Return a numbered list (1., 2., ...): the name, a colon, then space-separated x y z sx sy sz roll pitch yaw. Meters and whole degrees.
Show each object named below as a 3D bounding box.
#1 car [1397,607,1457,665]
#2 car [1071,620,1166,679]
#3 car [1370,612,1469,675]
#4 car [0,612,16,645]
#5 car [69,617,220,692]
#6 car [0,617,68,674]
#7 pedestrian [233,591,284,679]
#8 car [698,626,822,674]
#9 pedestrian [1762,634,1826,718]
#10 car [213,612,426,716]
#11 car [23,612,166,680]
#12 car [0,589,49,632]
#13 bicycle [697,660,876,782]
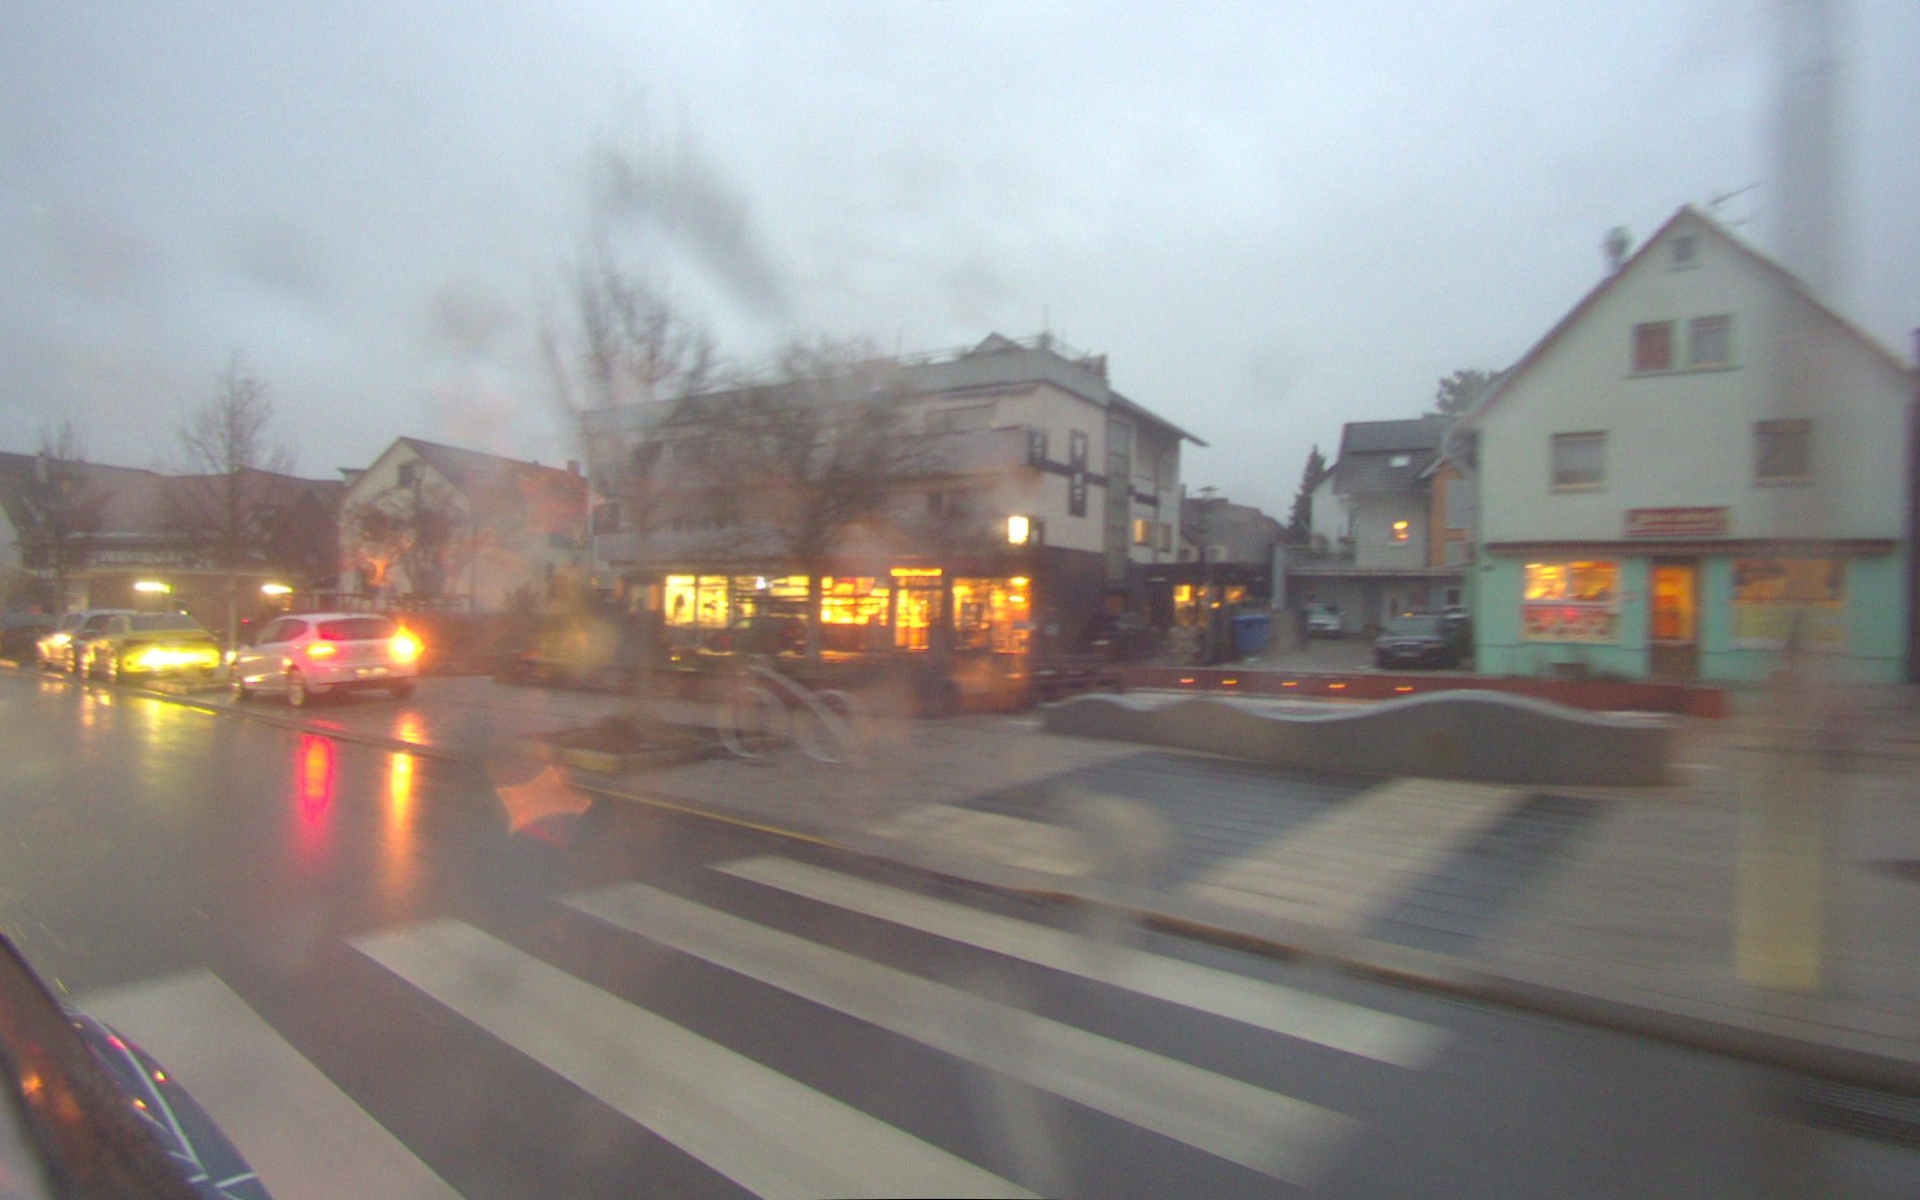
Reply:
1. car: 15.974 1.189 34.542 1.563 1.871 3.278 -1 -1 30
2. car: 5.426 1.653 34.227 1.991 1.858 3.961 0 -2 29
3. car: 12.951 1.171 28.399 1.979 1.615 3.955 -1 -1 33
4. car: -46.378 1.347 46.937 3.787 1.557 2.001 0 0 -44
5. car: -17.833 1.119 22.052 4.372 1.442 1.678 -1 0 39
6. car: -28.073 1.296 29.956 4.134 1.546 1.818 -1 0 38
7. pedestrian: -16.574 0.811 23.915 0.889 2.029 0.791 1 -2 -42
8. car: -7.057 1.739 35.689 3.985 1.576 1.979 0 -2 31
9. pedestrian: 17.817 1.604 21.642 0.836 1.729 0.911 0 -3 27
10. car: -10.793 0.967 16.945 4.177 1.500 1.767 0 0 39
11. car: -21.899 1.101 25.590 3.662 1.546 1.859 0 0 34
12. car: -40.850 0.435 42.375 3.937 1.776 1.436 0 0 -40
13. bicycle: -1.625 1.104 9.397 1.734 1.070 0.322 -2 -7 24
